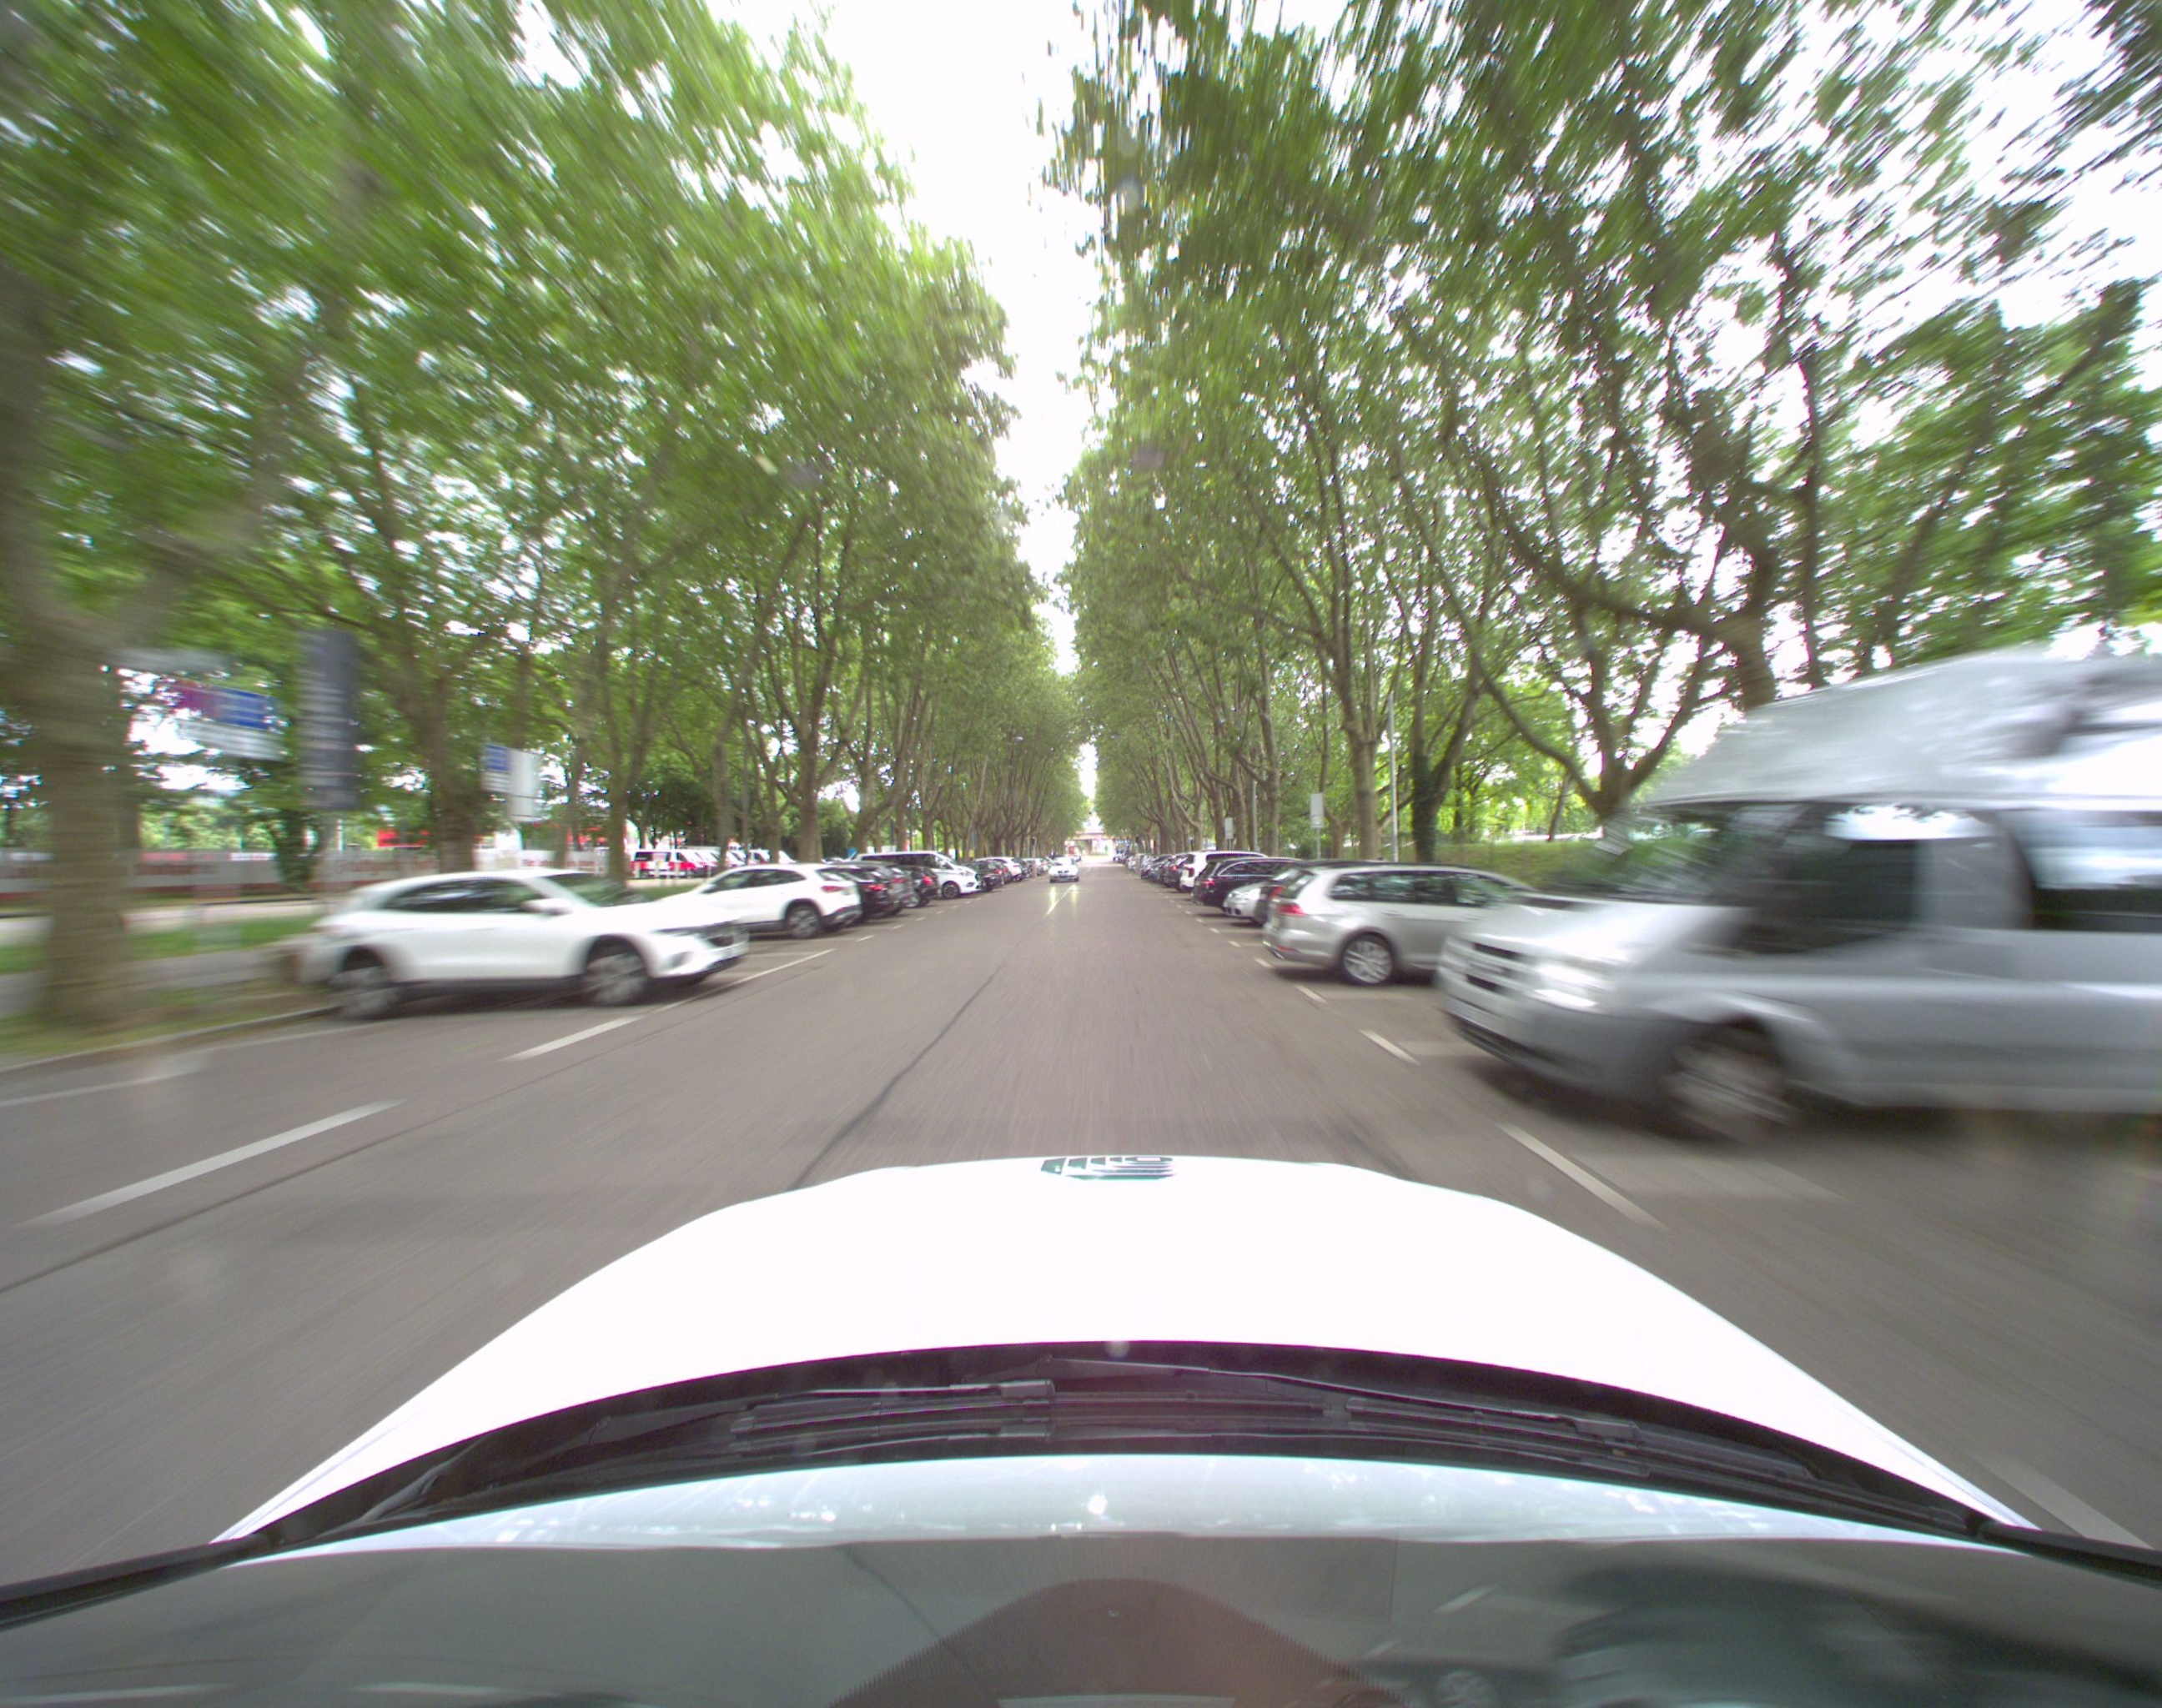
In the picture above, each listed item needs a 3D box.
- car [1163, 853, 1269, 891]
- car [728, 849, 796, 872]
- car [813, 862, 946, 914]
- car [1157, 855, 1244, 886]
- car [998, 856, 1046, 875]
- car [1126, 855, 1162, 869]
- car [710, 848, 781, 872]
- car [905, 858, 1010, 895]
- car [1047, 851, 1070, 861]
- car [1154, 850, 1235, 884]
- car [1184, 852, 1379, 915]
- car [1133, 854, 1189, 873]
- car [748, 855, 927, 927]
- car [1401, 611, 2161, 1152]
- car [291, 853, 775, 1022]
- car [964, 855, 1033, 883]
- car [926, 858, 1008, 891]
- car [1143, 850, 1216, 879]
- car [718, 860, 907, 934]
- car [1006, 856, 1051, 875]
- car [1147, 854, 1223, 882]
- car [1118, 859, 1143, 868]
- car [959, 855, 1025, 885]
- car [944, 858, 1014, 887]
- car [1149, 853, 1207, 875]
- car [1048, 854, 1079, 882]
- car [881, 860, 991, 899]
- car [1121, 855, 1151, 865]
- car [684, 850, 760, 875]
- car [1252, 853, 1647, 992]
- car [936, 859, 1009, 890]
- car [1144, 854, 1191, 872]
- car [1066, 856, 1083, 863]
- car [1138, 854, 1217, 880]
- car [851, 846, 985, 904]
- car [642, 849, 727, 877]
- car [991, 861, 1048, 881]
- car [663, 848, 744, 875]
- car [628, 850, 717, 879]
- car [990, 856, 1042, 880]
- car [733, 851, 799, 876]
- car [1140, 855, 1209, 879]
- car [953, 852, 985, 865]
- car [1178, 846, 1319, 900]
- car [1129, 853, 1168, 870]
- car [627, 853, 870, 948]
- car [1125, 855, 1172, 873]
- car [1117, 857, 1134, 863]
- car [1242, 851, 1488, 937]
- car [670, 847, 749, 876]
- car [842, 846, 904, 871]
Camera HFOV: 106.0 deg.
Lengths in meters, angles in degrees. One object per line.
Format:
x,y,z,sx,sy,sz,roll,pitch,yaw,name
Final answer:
5.370,0.697,32.670,3.974,1.486,1.694,0,0,-1,car
-31.832,0.635,81.478,5.981,2.305,2.000,0,0,1,car
-6.693,1.110,27.338,3.975,1.413,1.682,-4,0,-1,car
5.491,0.747,37.764,3.815,1.389,1.694,0,0,-1,car
-4.863,0.937,67.522,3.817,1.430,1.693,-3,0,-2,car
6.585,0.833,85.429,3.636,1.424,1.984,0,0,-2,car
-32.537,0.592,79.068,5.981,2.330,2.000,0,0,1,car
-5.712,1.014,37.835,4.426,1.452,1.777,-3,0,5,car
-3.965,0.317,144.399,3.794,1.602,1.789,-3,0,6,car
5.590,0.637,40.394,3.815,1.607,1.694,0,0,-1,car
4.938,0.706,20.438,4.488,1.526,1.702,0,0,-1,car
6.351,0.769,65.047,4.286,1.470,1.622,0,0,-3,car
-6.763,0.996,23.004,4.327,1.667,1.999,-4,0,-1,car
4.956,0.131,5.035,5.208,2.689,1.958,0,0,2,car
-6.295,0.895,9.813,4.366,1.597,1.999,-3,0,-1,car
-5.274,0.963,52.356,4.050,1.608,1.801,-3,0,3,car
-5.897,1.037,42.390,3.985,1.471,1.536,-3,0,-2,car
5.737,0.622,47.566,4.098,1.670,1.695,0,0,1,car
-6.561,1.030,20.230,3.975,1.475,1.842,-4,0,-1,car
-4.658,1.025,72.748,3.817,1.497,1.693,-3,0,-2,car
5.428,0.716,42.829,3.815,1.455,1.694,0,0,-1,car
8.187,1.507,134.317,4.154,1.442,1.734,0,0,6,car
-5.403,0.980,49.938,3.817,1.627,1.951,-3,0,-2,car
-5.901,1.087,47.562,3.817,1.471,1.693,-3,0,-2,car
6.536,0.684,55.182,3.763,1.470,1.667,0,0,0,car
-1.019,0.802,48.302,1.683,1.471,3.839,-3,0,0,car
-6.308,1.101,35.794,4.434,1.452,1.774,-3,0,0,car
8.596,0.944,127.015,4.551,1.486,2.003,0,0,6,car
-32.635,0.745,74.196,5.981,2.240,2.000,0,0,1,car
4.323,0.776,10.062,4.102,1.429,1.704,2,-1,3,car
-5.999,1.112,45.536,3.744,1.474,1.864,-3,0,0,car
7.185,0.768,67.829,3.766,1.470,1.622,0,0,-3,car
-1.521,1.254,189.587,3.796,1.515,1.688,-1,0,4,car
5.337,0.705,45.370,4.198,1.451,1.610,0,0,-1,car
-6.483,0.818,32.766,4.877,2.019,1.919,-3,0,0,car
-32.376,0.738,66.655,5.981,2.252,2.000,0,0,1,car
-4.905,1.320,65.084,4.389,1.365,1.693,-3,0,-2,car
-32.053,0.628,69.283,5.981,2.318,2.000,0,0,1,car
-32.123,0.835,64.180,5.981,2.252,2.000,0,0,1,car
-4.979,1.069,62.421,3.817,1.608,1.693,-3,0,-2,car
-32.386,0.990,83.797,5.981,2.527,2.000,0,0,1,car
5.759,0.806,50.509,4.099,1.470,1.695,0,0,1,car
-18.250,0.717,133.130,5.062,2.232,1.535,0,0,-1,car
5.531,0.619,27.307,4.371,1.755,1.800,0,0,-1,car
6.639,0.698,80.256,3.636,1.667,1.518,0,0,-3,car
-7.048,0.945,17.631,4.327,1.667,1.999,-4,0,-1,car
6.196,0.920,75.089,4.156,1.596,1.853,0,0,-2,car
11.376,1.496,208.806,4.359,1.523,1.732,0,0,2,car
5.238,0.708,15.377,4.032,1.526,1.814,0,0,-1,car
-32.765,0.641,71.912,5.981,2.527,2.000,0,0,1,car
-21.340,0.450,83.732,5.764,2.597,2.001,0,0,1,car
